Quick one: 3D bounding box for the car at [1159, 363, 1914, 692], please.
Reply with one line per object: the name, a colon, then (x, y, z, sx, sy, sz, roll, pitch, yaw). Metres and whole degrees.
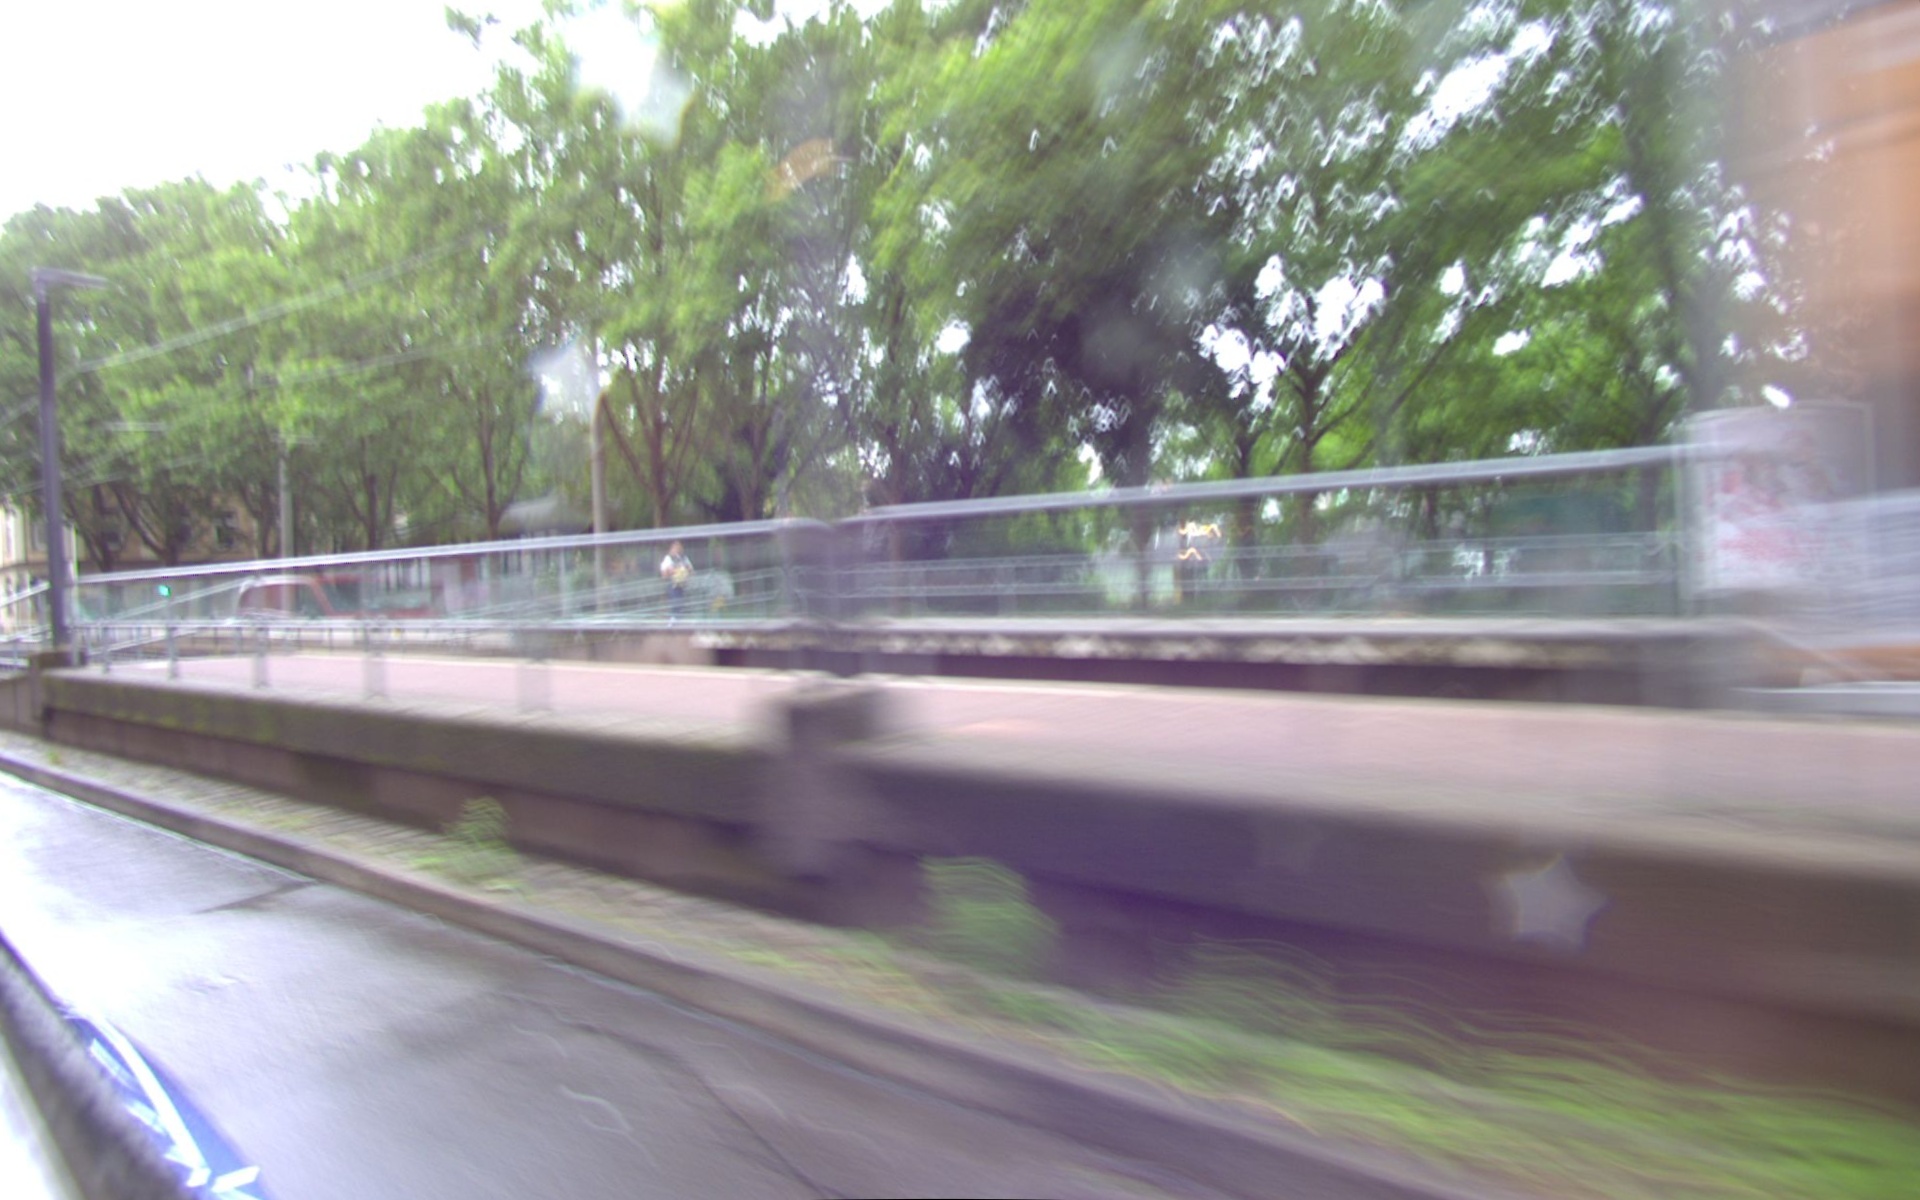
car: (3.140, -0.290, 6.017, 3.457, 1.401, 1.676, -1, 0, 36)

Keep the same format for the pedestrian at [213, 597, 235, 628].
pedestrian: (-43.558, 0.724, 59.865, 0.871, 1.812, 0.850, -2, 0, 42)

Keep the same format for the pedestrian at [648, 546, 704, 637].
pedestrian: (-5.479, -0.164, 19.539, 0.686, 1.675, 0.652, -6, -2, 35)
